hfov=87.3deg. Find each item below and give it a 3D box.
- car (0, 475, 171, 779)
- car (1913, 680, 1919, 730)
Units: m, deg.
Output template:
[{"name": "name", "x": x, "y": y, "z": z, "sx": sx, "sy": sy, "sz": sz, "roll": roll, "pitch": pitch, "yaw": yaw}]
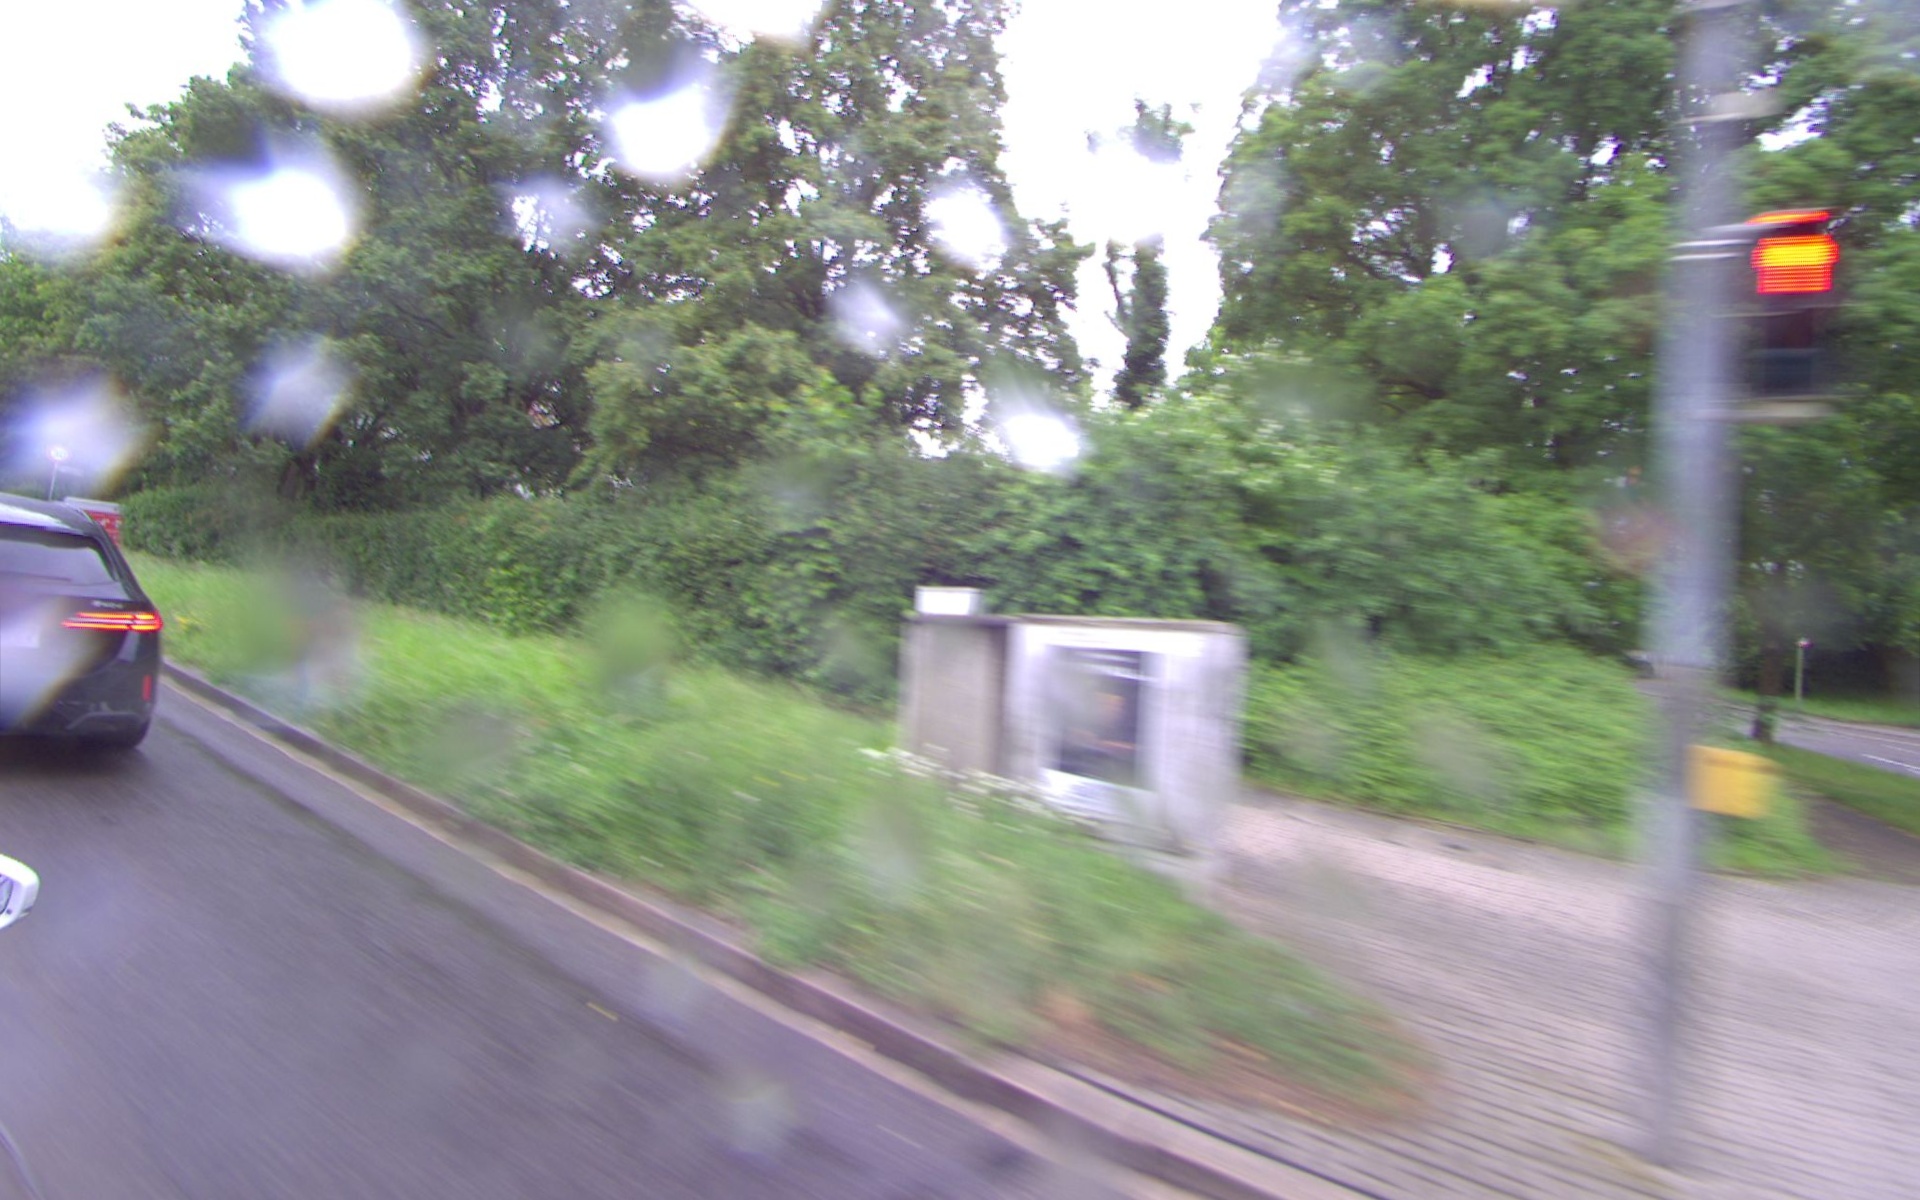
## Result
[{"name": "car", "x": -6.423, "y": -0.025, "z": 6.156, "sx": 3.621, "sy": 1.555, "sz": 1.762, "roll": 6, "pitch": -1, "yaw": 41}, {"name": "car", "x": 35.809, "y": 3.876, "z": 34.512, "sx": 3.930, "sy": 1.924, "sz": 1.954, "roll": 7, "pitch": 2, "yaw": 27}]
